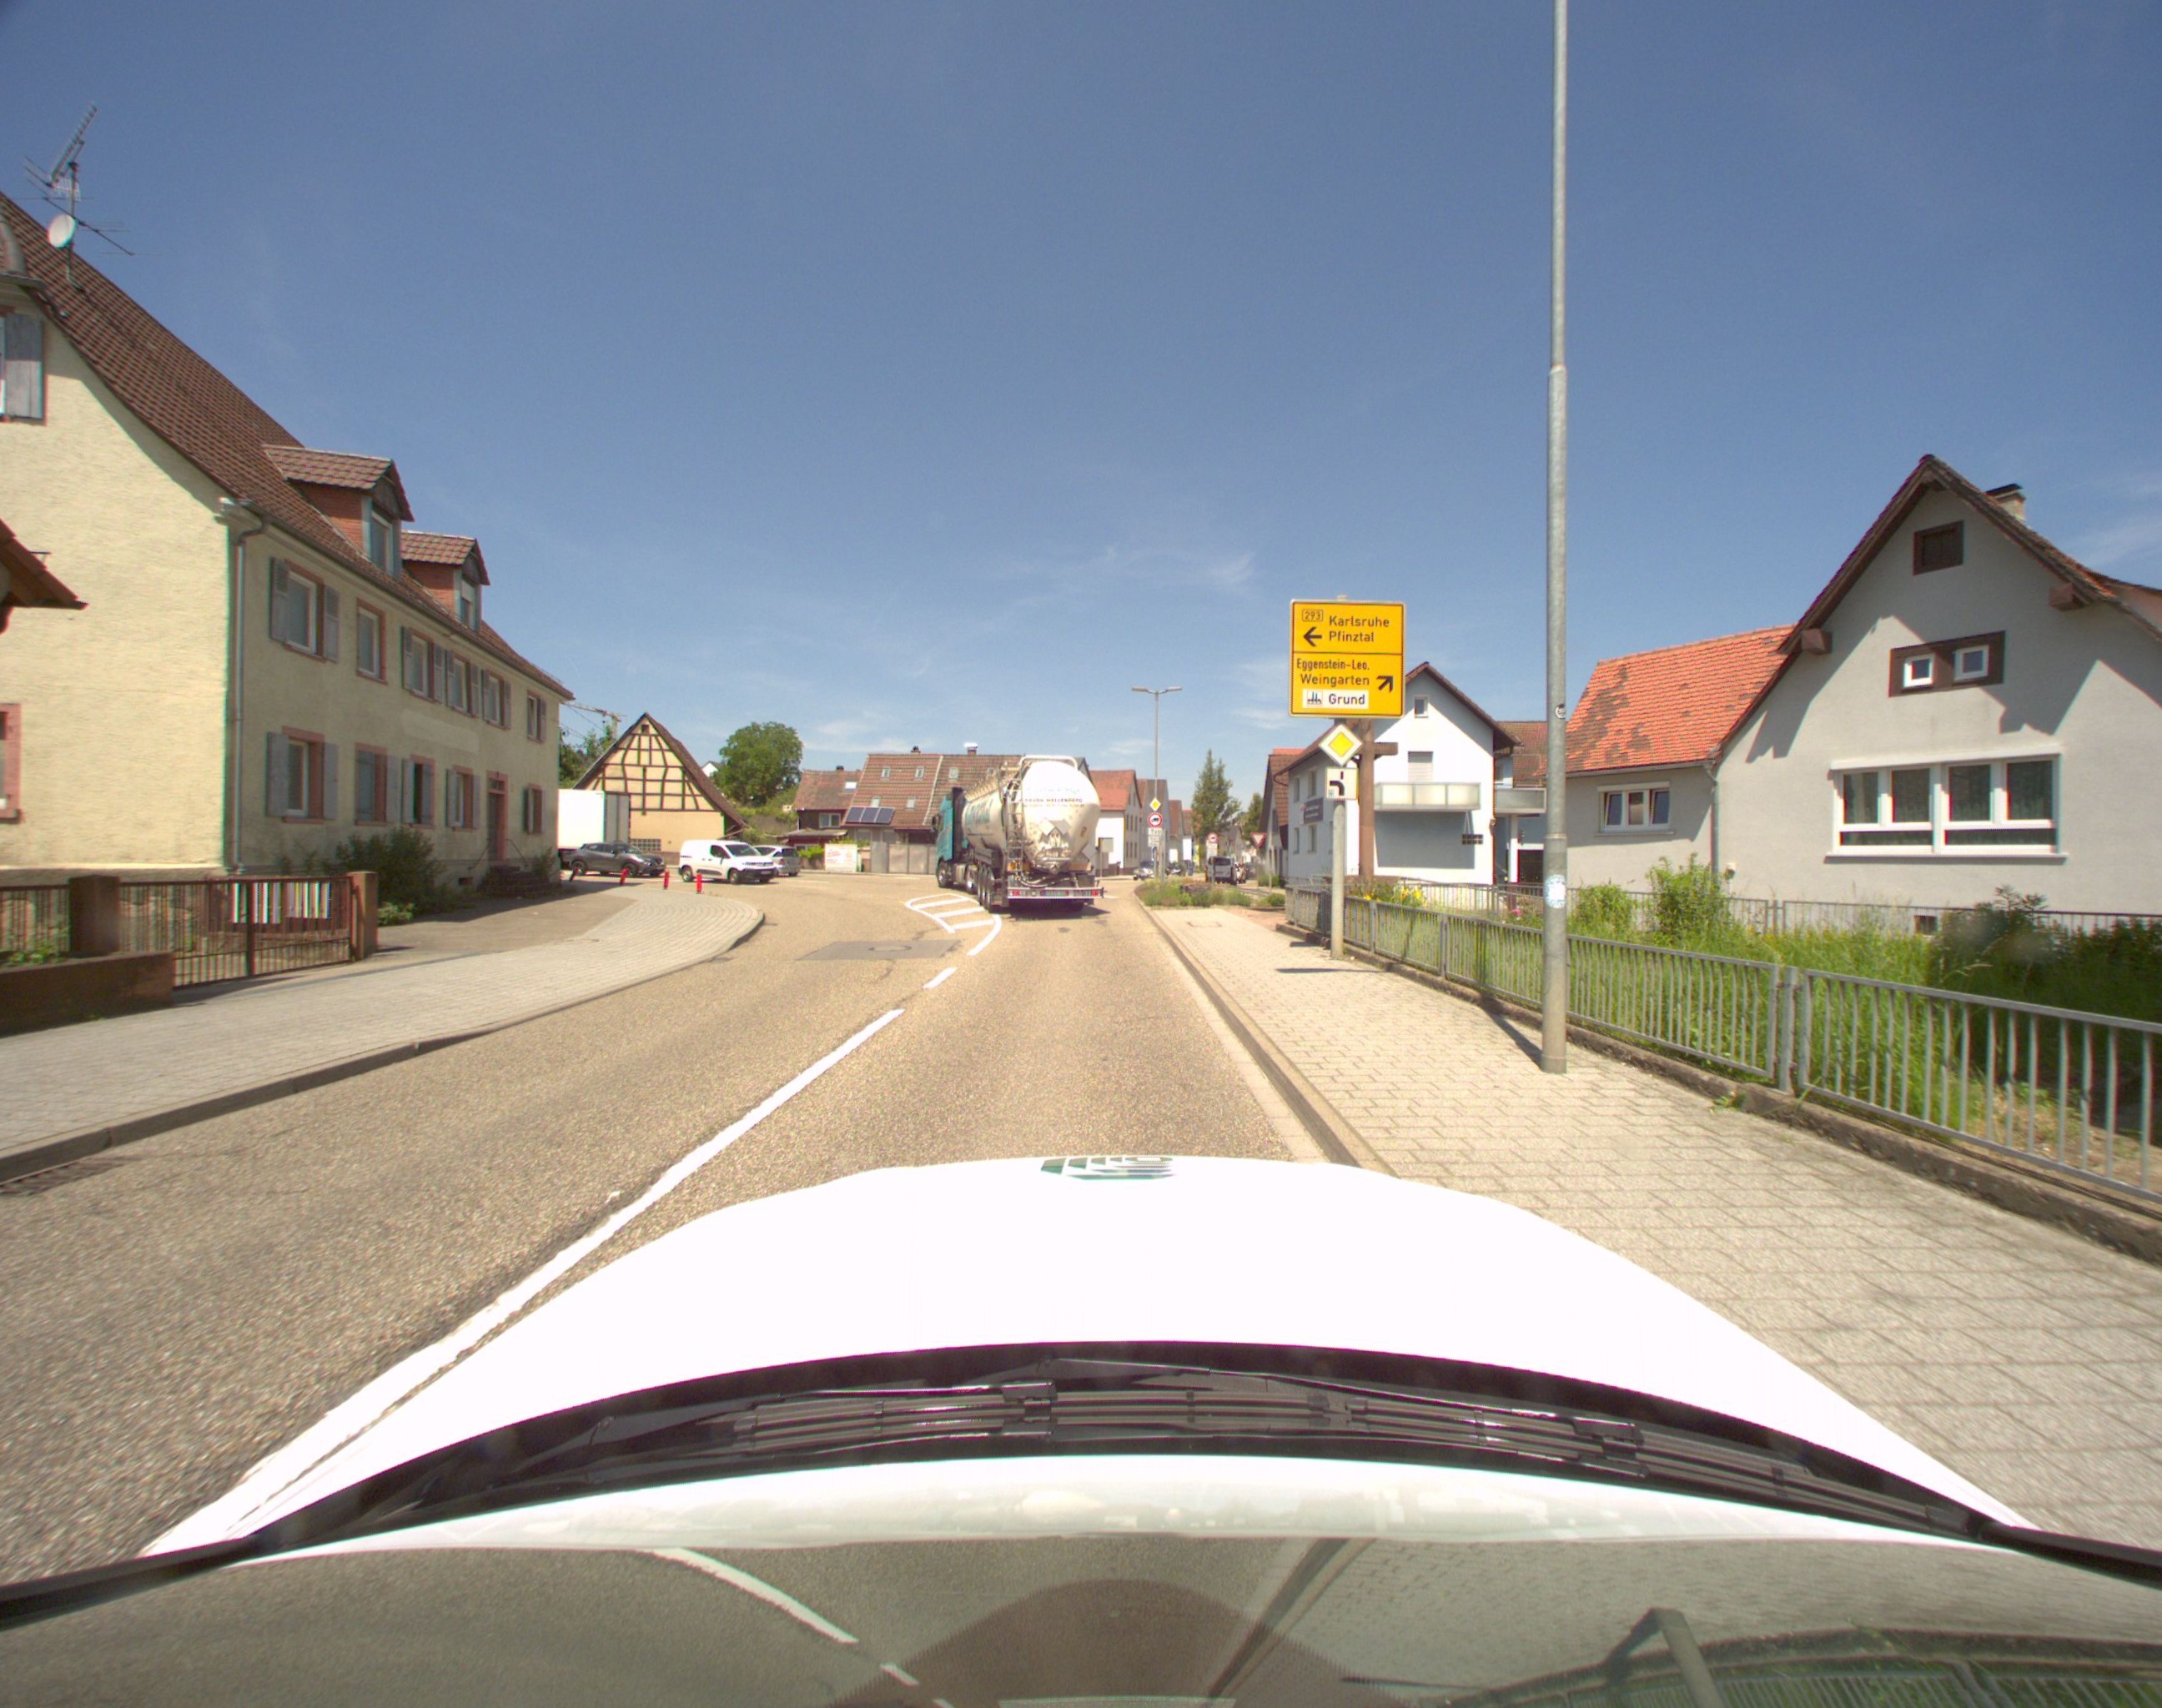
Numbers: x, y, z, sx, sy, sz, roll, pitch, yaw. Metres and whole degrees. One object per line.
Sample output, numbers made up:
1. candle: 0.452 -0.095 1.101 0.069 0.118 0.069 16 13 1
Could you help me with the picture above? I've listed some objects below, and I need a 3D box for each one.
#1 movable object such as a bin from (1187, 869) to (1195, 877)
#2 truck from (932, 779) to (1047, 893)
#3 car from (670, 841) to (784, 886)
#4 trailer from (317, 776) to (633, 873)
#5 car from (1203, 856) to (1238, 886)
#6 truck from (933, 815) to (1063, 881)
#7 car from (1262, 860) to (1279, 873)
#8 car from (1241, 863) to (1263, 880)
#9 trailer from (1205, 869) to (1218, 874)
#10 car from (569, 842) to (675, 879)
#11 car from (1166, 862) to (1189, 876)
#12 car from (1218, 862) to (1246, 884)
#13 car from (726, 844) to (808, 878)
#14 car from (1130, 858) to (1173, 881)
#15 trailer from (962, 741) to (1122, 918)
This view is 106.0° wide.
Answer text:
1. movable object such as a bin: 13.768 2.390 101.856 0.913 1.049 0.947 1 -1 17
2. truck: -3.666 -0.596 31.474 2.999 3.965 5.538 1 -1 -22
3. car: -15.164 0.374 34.899 4.467 1.785 1.890 1 1 23
4. trailer: -29.546 -1.321 40.330 12.442 4.277 3.134 1 -1 -7
5. car: 9.475 1.168 55.240 1.979 1.912 4.339 1 -2 14
6. truck: -4.406 -0.208 44.798 2.635 3.181 7.509 0 -2 37
7. car: 24.710 1.575 106.224 1.979 1.585 4.015 1 0 14
8. car: 16.857 1.690 80.152 1.979 1.585 4.015 1 0 14
9. trailer: 20.028 2.659 125.029 1.940 0.777 2.726 2 -1 7
10. car: -21.001 0.298 37.310 3.961 1.524 1.803 2 0 11
11. car: 11.518 1.793 96.908 1.702 1.596 4.021 1 0 22
12. car: 11.662 1.446 62.731 1.803 1.634 4.224 1 -1 16
13. car: -15.434 0.324 40.035 3.560 1.585 1.798 0 -1 28
14. car: 5.586 1.234 64.243 1.975 1.675 4.336 1 -2 25
15. trailer: -1.695 -0.516 24.335 2.954 3.948 11.571 2 0 -12
